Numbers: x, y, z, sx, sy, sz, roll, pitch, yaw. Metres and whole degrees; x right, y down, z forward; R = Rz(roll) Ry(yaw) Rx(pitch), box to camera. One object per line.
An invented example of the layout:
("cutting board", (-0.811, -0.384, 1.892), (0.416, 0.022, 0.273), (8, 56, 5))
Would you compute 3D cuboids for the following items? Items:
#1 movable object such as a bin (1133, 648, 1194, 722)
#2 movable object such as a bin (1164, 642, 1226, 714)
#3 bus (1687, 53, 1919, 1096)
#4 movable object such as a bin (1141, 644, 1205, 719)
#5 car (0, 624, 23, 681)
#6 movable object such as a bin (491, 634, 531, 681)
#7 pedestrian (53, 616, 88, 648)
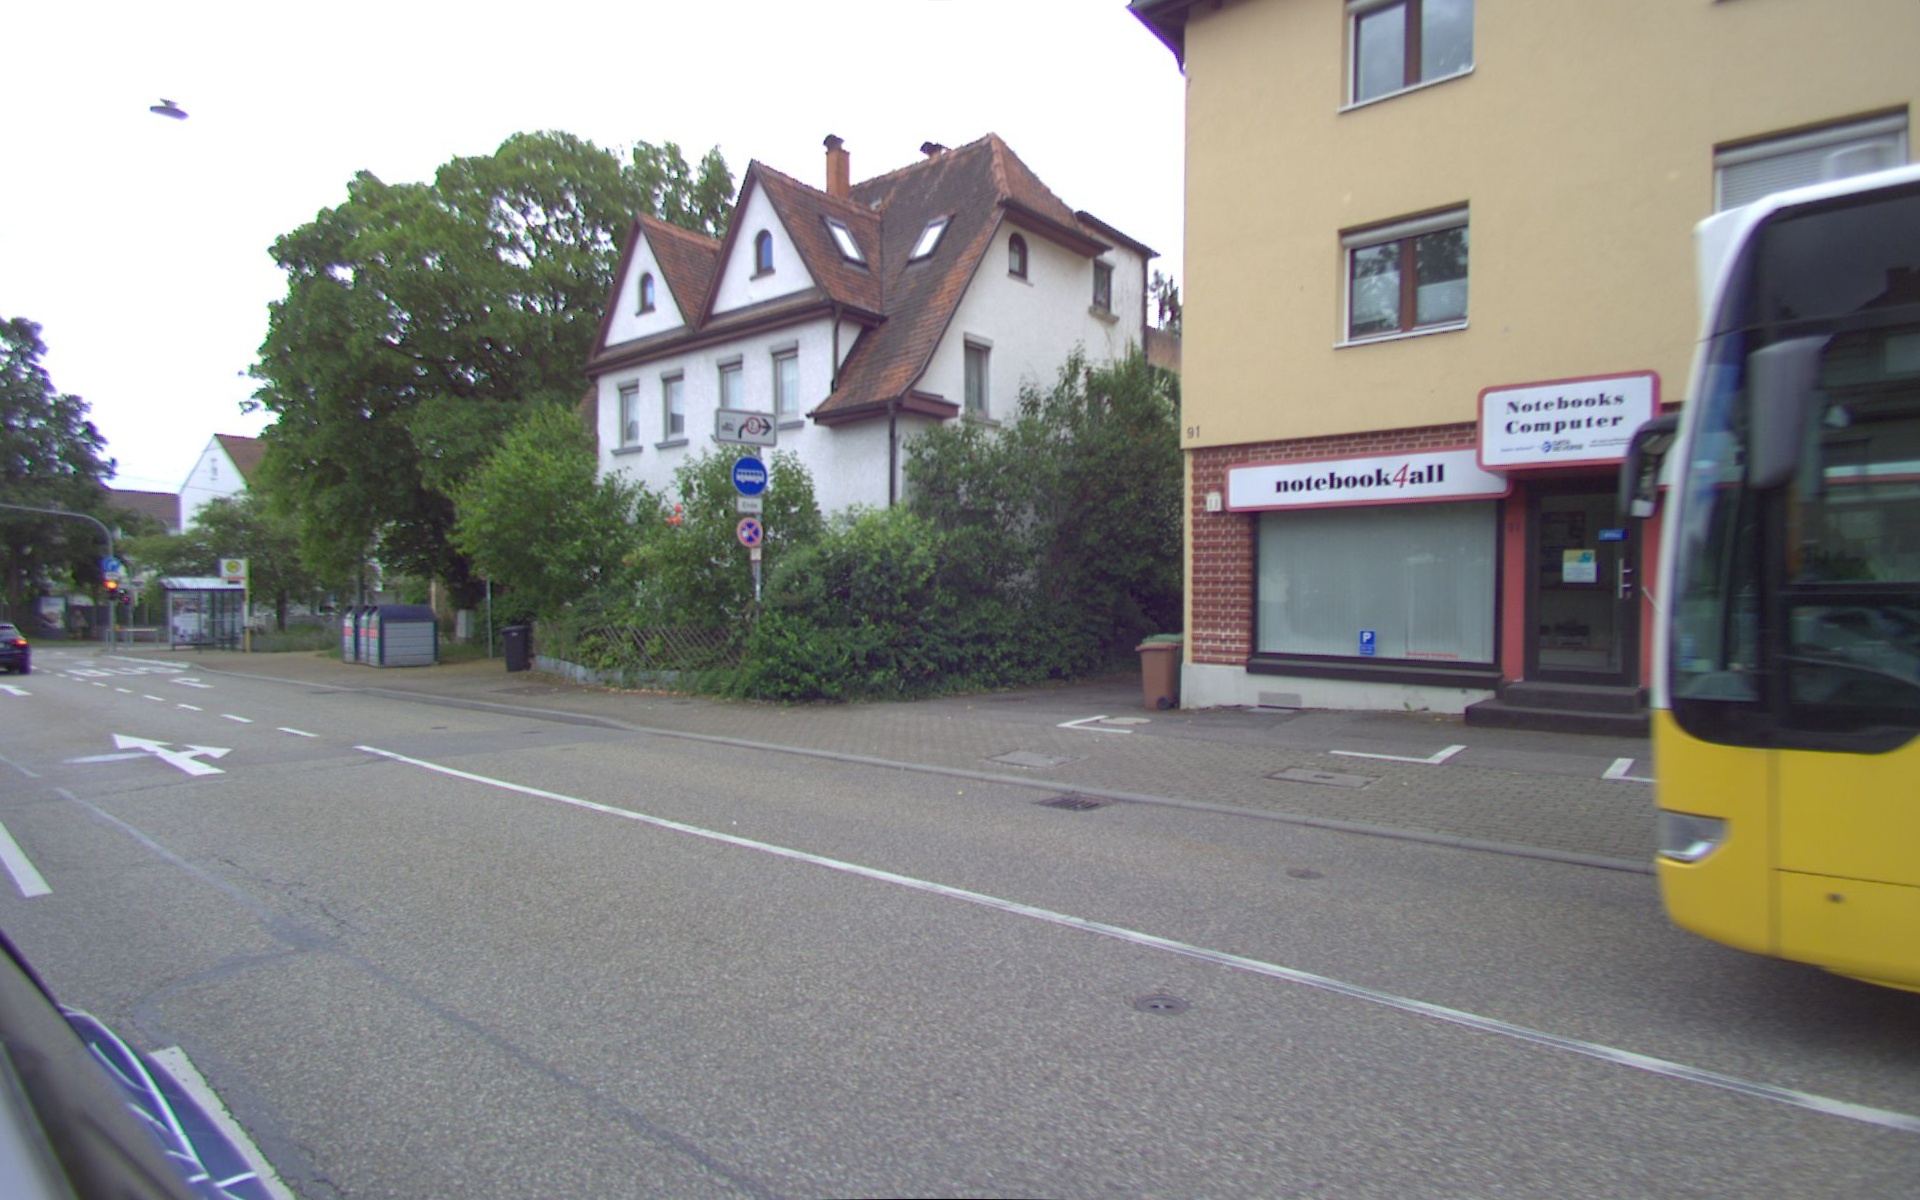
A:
("movable object such as a bin", (2.801, 1.153, 13.942), (0.607, 0.956, 0.547), (1, -1, 44))
("movable object such as a bin", (3.495, 1.149, 15.052), (0.690, 1.010, 0.547), (1, -1, 44))
("bus", (7.791, -0.141, 0.314), (12.066, 3.109, 2.604), (-1, -3, 42))
("movable object such as a bin", (3.077, 1.166, 14.618), (0.690, 1.010, 0.547), (1, -1, 44))
("car", (-27.078, 1.413, 27.729), (4.127, 1.431, 1.548), (0, -1, 40))
("movable object such as a bin", (-10.466, 1.332, 23.607), (0.708, 1.027, 0.724), (-3, 0, -17))
("pedestrian", (-50.630, 1.793, 57.609), (1.212, 1.767, 0.824), (0, 1, -1))
